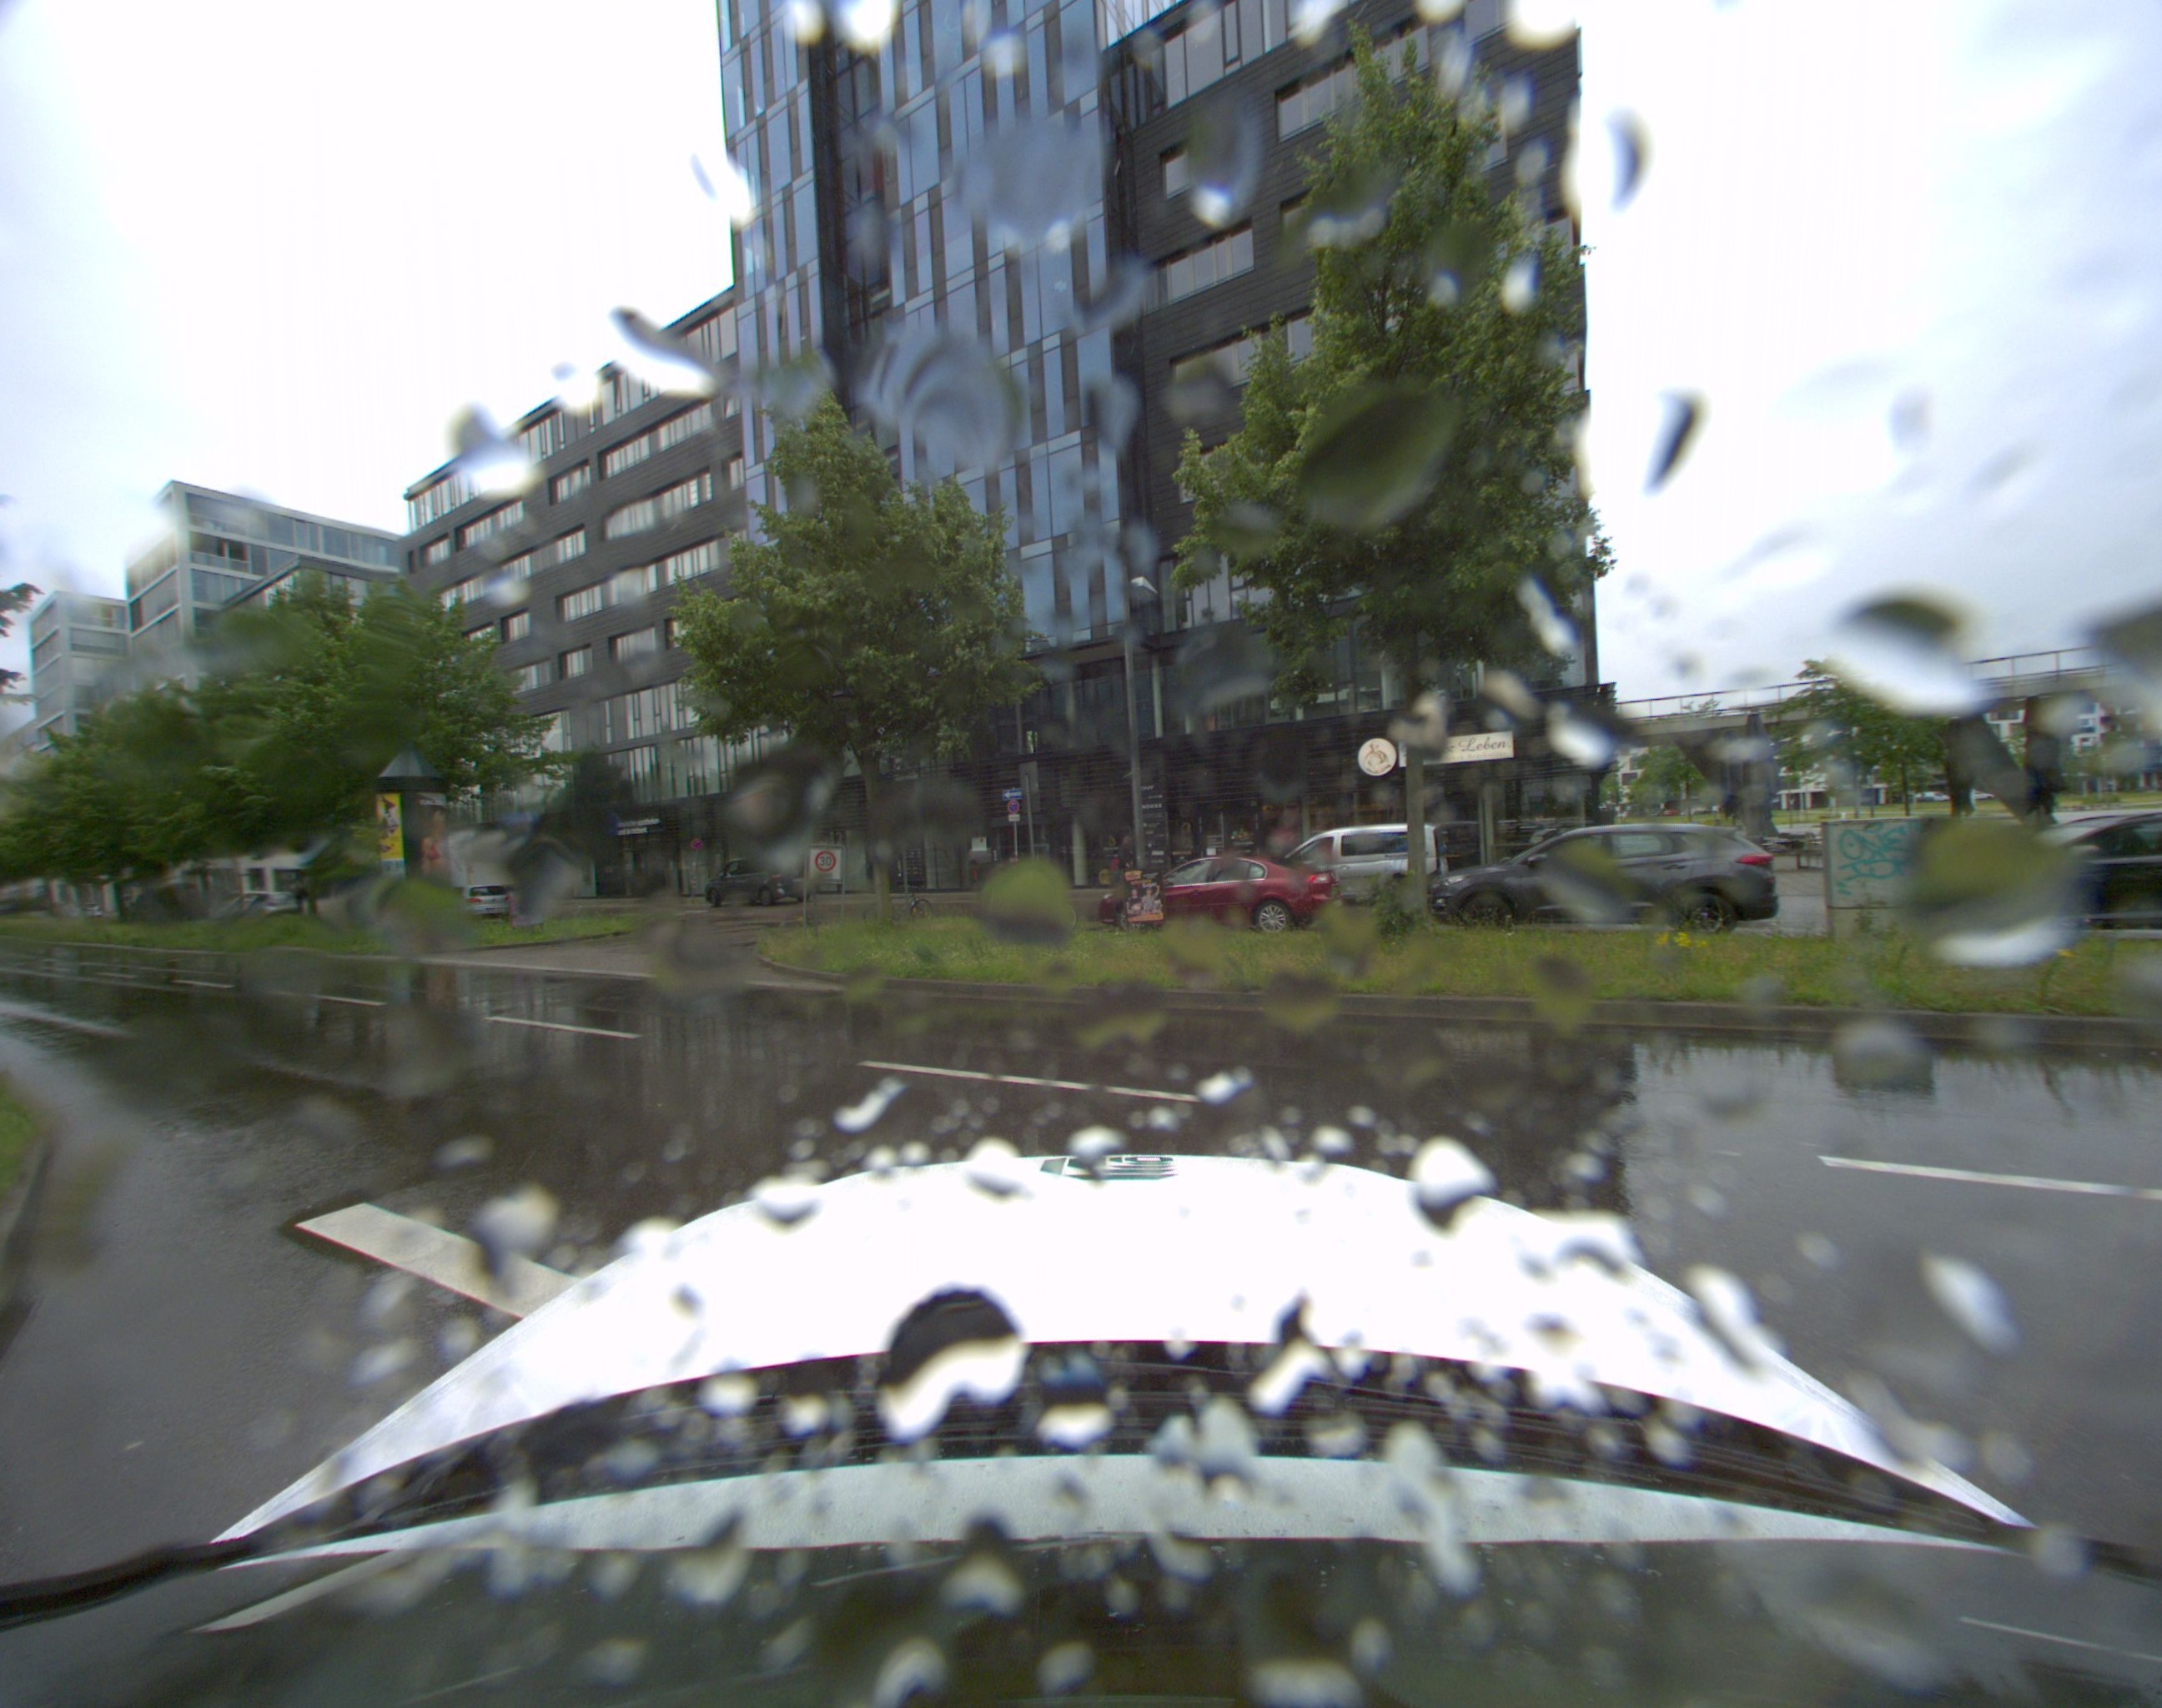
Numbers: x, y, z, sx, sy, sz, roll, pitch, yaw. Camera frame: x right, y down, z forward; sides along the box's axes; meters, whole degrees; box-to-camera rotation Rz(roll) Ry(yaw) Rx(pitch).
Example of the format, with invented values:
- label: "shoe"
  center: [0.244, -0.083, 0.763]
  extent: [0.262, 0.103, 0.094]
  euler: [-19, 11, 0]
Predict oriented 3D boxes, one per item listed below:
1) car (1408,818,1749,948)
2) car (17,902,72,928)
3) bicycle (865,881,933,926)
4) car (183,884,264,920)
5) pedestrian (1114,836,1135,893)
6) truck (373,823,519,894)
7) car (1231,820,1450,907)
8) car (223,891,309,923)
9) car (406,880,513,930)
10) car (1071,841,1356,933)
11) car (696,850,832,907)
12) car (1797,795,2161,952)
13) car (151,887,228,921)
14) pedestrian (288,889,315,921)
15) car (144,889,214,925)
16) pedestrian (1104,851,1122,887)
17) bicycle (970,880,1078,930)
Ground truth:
- label: "car"
  center: [7.445, 0.359, 12.578]
  extent: [4.163, 1.707, 2.013]
  euler: [0, 2, 30]
- label: "car"
  center: [-79.290, 4.642, 62.300]
  extent: [4.663, 1.669, 2.013]
  euler: [0, 2, 31]
- label: "bicycle"
  center: [-4.222, 1.136, 18.906]
  extent: [1.465, 0.917, 0.429]
  euler: [-2, 2, -27]
- label: "car"
  center: [-46.623, 2.553, 44.245]
  extent: [4.663, 1.669, 2.013]
  euler: [0, 2, 31]
- label: "pedestrian"
  center: [1.417, 0.343, 26.614]
  extent: [0.574, 1.832, 0.506]
  euler: [-2, 1, -5]
- label: "truck"
  center: [-35.008, 0.253, 44.812]
  extent: [8.439, 3.440, 3.053]
  euler: [-3, 0, 28]
- label: "car"
  center: [6.164, 0.193, 19.416]
  extent: [4.664, 1.865, 1.911]
  euler: [0, 2, 28]
- label: "car"
  center: [-41.467, 2.671, 41.418]
  extent: [4.663, 1.452, 1.786]
  euler: [-2, 0, 28]
- label: "car"
  center: [-23.269, 1.844, 30.467]
  extent: [4.047, 1.596, 1.778]
  euler: [0, 2, 31]
- label: "car"
  center: [2.450, 0.621, 15.512]
  extent: [4.895, 1.454, 2.013]
  euler: [-3, 1, 31]
- label: "car"
  center: [-12.304, 0.963, 31.523]
  extent: [5.083, 1.920, 2.013]
  euler: [-3, 1, 29]
- label: "car"
  center: [11.988, 0.177, 9.873]
  extent: [4.663, 1.707, 2.013]
  euler: [0, 2, 30]
- label: "car"
  center: [-51.889, 2.839, 47.381]
  extent: [4.894, 1.669, 2.013]
  euler: [0, 2, 31]
- label: "pedestrian"
  center: [-37.874, 2.460, 39.577]
  extent: [0.636, 1.493, 0.704]
  euler: [-3, 0, 28]
- label: "car"
  center: [-57.278, 3.334, 51.694]
  extent: [4.964, 1.952, 2.013]
  euler: [0, 2, 31]
- label: "pedestrian"
  center: [1.150, 0.525, 29.144]
  extent: [0.449, 1.237, 0.578]
  euler: [-2, 2, -17]
- label: "bicycle"
  center: [-1.060, 0.942, 15.189]
  extent: [1.894, 0.862, 0.577]
  euler: [-1, 2, 15]
